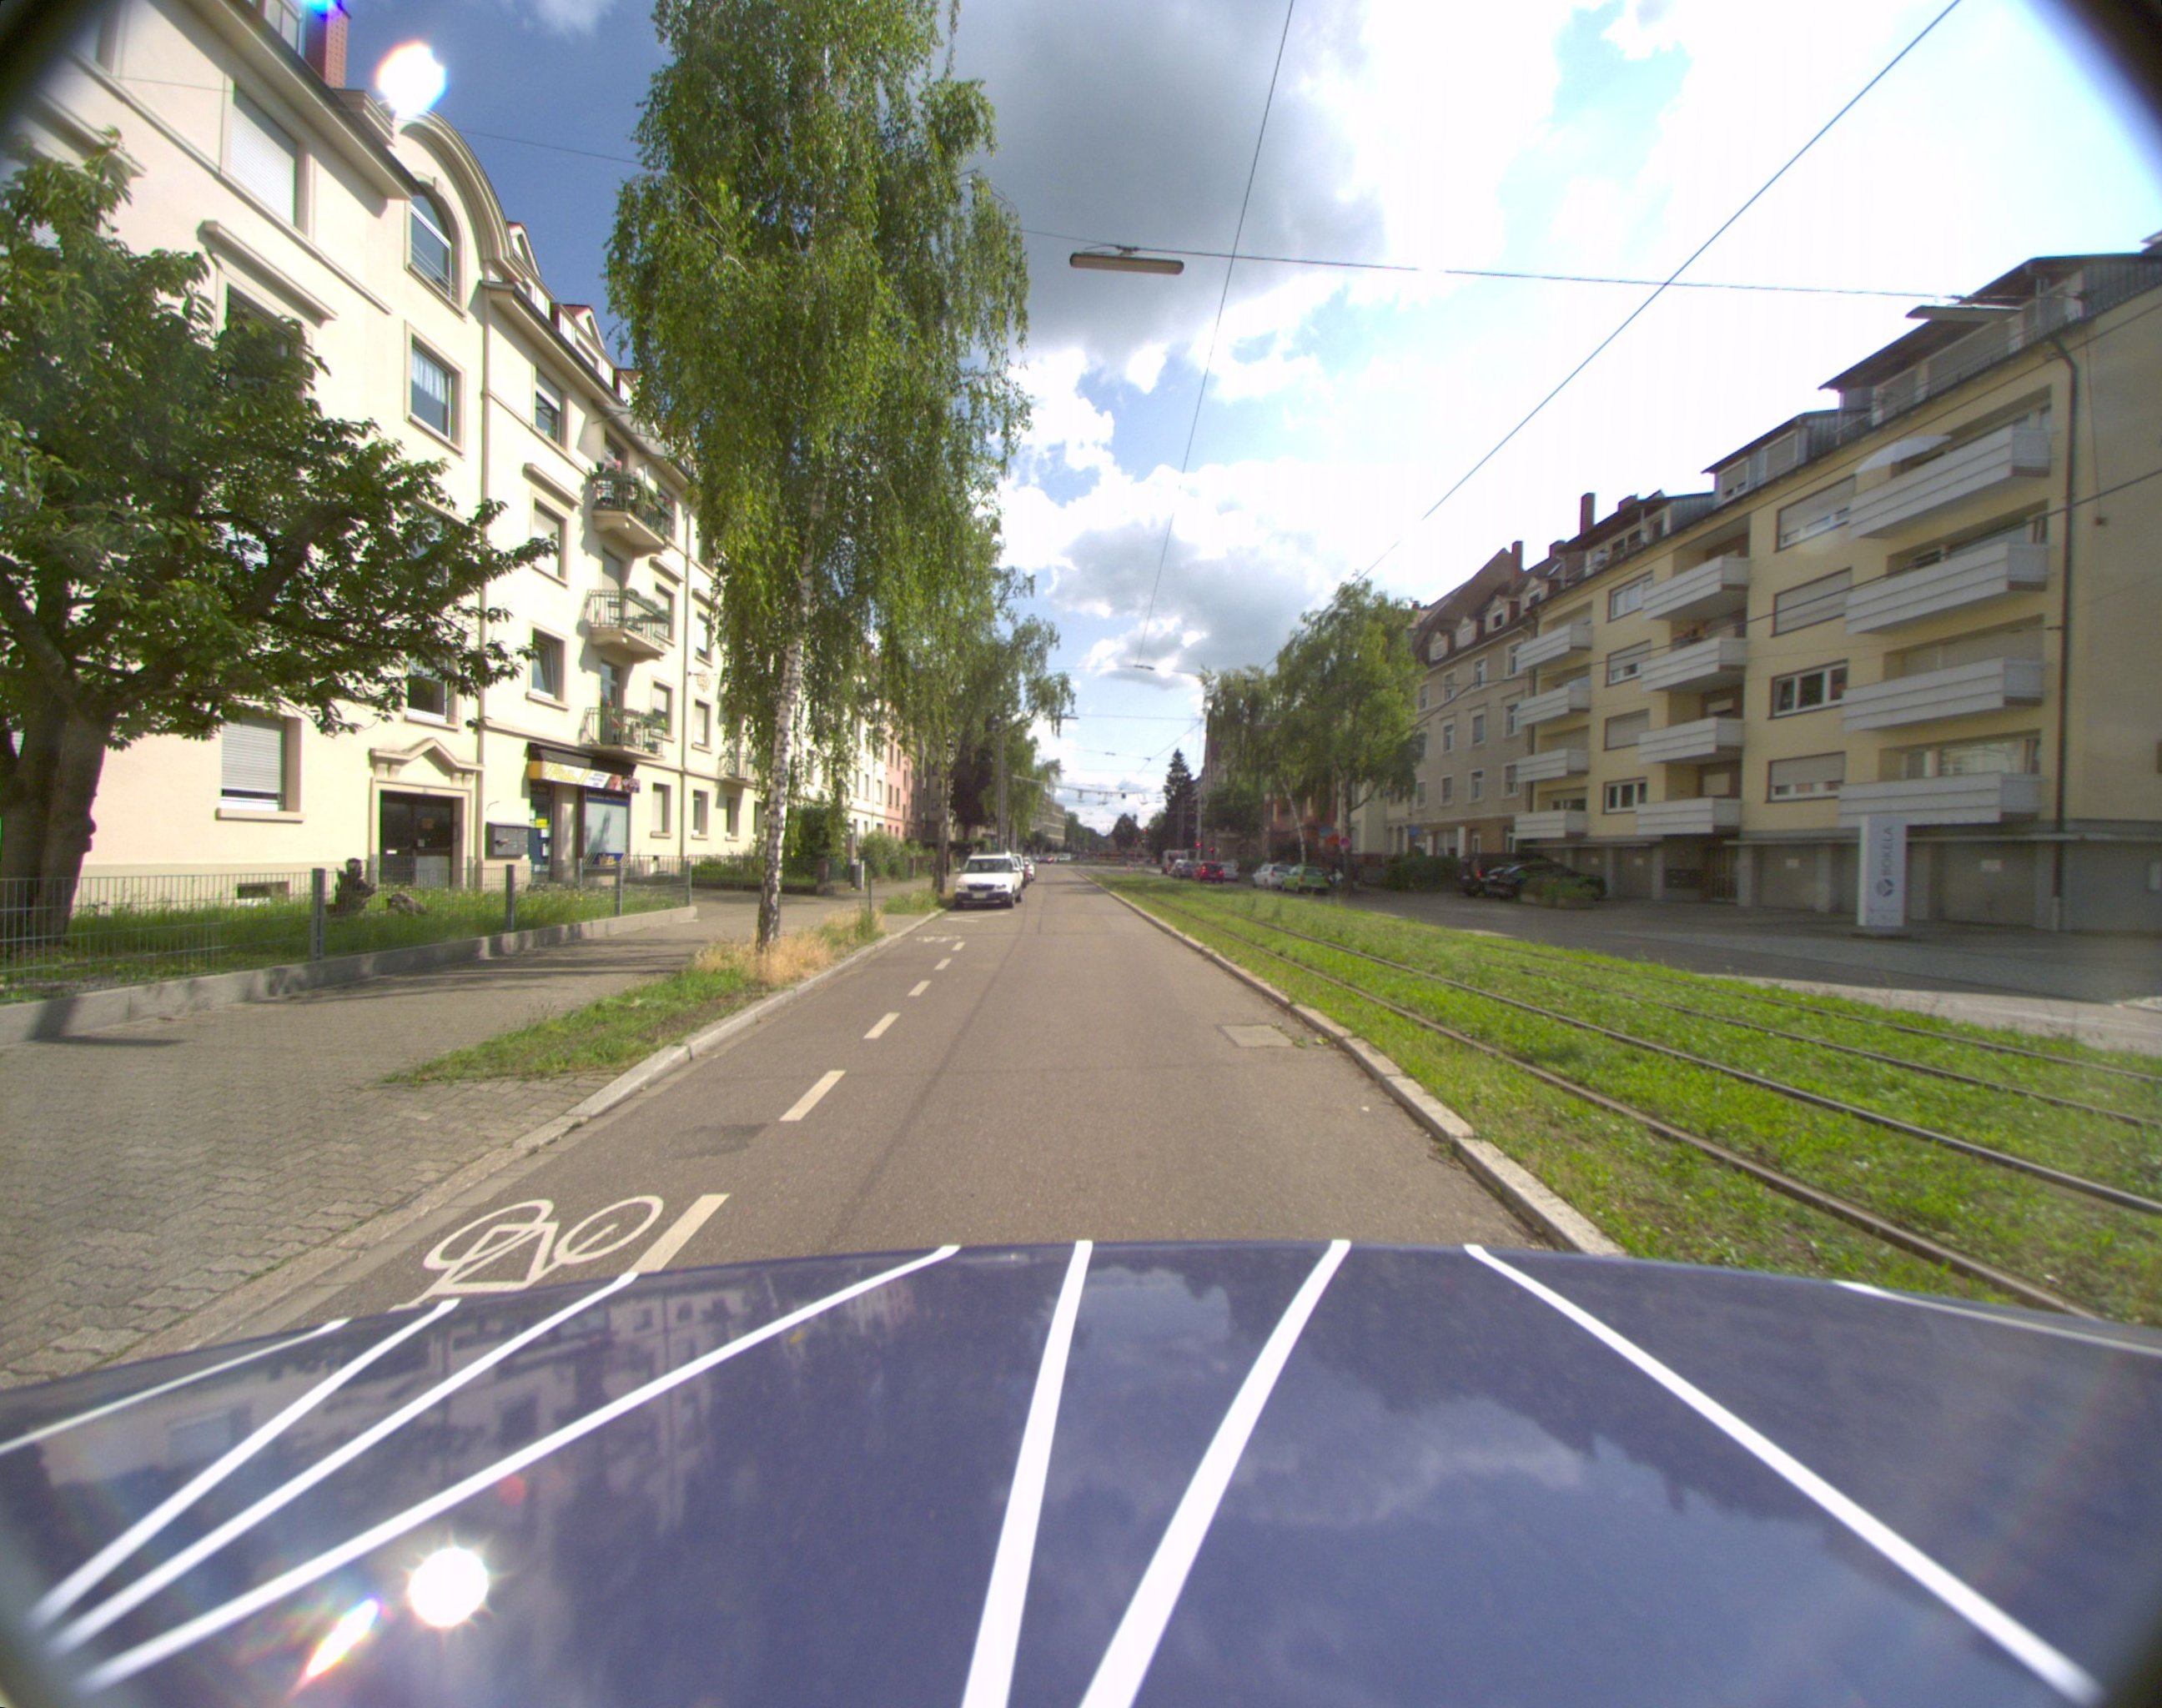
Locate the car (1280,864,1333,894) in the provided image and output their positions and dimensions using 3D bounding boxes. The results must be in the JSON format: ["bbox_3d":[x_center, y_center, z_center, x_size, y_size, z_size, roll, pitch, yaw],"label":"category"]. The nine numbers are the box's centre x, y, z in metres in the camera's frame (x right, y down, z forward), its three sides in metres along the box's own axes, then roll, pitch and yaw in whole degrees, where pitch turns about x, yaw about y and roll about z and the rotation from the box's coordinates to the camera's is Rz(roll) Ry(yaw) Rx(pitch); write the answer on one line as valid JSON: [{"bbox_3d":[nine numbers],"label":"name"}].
[{"bbox_3d":[11.709,1.266,39.692,1.598,1.423,3.614,2,0,-1],"label":"car"}]

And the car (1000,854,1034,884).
[{"bbox_3d":[-3.410,0.773,40.873,1.593,1.444,3.843,-2,0,-2],"label":"car"}]

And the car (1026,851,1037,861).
[{"bbox_3d":[-9.216,0.364,141.005,1.999,1.730,3.998,2,0,-3],"label":"car"}]

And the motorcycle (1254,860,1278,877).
[{"bbox_3d":[13.451,1.047,55.390,0.903,1.235,2.293,1,0,-8],"label":"motorcycle"}]

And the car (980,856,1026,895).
[{"bbox_3d":[-3.159,0.841,31.339,1.677,1.409,3.794,-1,0,-3],"label":"car"}]

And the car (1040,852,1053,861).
[{"bbox_3d":[-5.462,0.349,119.920,1.741,1.313,4.000,0,0,2],"label":"car"}]

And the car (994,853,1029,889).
[{"bbox_3d":[-3.227,0.775,35.741,1.498,1.570,3.757,-1,0,-3],"label":"car"}]

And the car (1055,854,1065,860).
[{"bbox_3d":[-4.253,0.609,153.802,1.620,1.265,4.000,0,0,2],"label":"car"}]

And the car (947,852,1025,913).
[{"bbox_3d":[-2.703,0.761,22.459,1.725,1.620,4.000,-1,0,1],"label":"car"}]

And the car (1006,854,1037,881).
[{"bbox_3d":[-3.558,0.783,45.648,1.624,1.444,3.917,-2,0,-2],"label":"car"}]

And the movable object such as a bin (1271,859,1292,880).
[{"bbox_3d":[13.850,1.060,52.591,0.953,1.359,1.521,-4,0,-3],"label":"movable object such as a bin"}]

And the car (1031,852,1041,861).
[{"bbox_3d":[-8.801,0.479,149.355,1.836,1.674,3.999,2,0,-2],"label":"car"}]

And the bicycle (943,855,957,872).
[{"bbox_3d":[-8.399,0.595,48.702,0.473,1.071,2.182,2,0,-1],"label":"bicycle"}]

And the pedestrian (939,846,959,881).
[{"bbox_3d":[-6.496,0.464,37.411,0.731,1.673,0.691,3,1,1],"label":"pedestrian"}]

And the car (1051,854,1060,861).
[{"bbox_3d":[-4.833,0.631,144.357,1.620,1.265,4.000,0,0,2],"label":"car"}]

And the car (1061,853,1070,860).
[{"bbox_3d":[-3.356,0.588,166.841,1.739,1.570,4.000,2,0,2],"label":"car"}]

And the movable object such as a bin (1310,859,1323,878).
[{"bbox_3d":[16.891,1.012,54.519,0.675,1.354,0.699,1,0,-5],"label":"movable object such as a bin"}]

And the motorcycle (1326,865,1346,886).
[{"bbox_3d":[13.952,1.179,41.603,0.500,1.037,1.631,-2,1,-2],"label":"motorcycle"}]

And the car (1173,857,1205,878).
[{"bbox_3d":[8.203,1.013,57.991,1.759,1.348,4.511,3,1,0],"label":"car"}]

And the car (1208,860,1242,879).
[{"bbox_3d":[10.984,1.165,58.184,1.759,1.348,3.994,2,0,0],"label":"car"}]

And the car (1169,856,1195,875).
[{"bbox_3d":[8.560,0.973,64.701,1.759,1.406,4.134,3,1,2],"label":"car"}]

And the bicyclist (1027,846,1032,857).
[{"bbox_3d":[-7.838,-0.322,116.109,0.665,1.679,0.857,2,1,3],"label":"bicyclist"}]

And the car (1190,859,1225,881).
[{"bbox_3d":[8.469,1.058,51.014,1.583,1.378,3.692,2,0,-1],"label":"car"}]

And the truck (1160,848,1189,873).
[{"bbox_3d":[9.063,0.612,74.120,2.190,2.201,6.613,2,0,2],"label":"truck"}]

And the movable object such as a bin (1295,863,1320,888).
[{"bbox_3d":[13.733,1.289,46.080,0.953,1.421,1.521,-1,0,-3],"label":"movable object such as a bin"}]

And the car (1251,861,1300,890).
[{"bbox_3d":[11.405,1.225,44.814,1.649,1.469,4.225,3,0,-1],"label":"car"}]

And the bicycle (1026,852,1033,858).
[{"bbox_3d":[-7.862,0.130,116.112,0.771,0.885,1.892,2,0,4],"label":"bicycle"}]

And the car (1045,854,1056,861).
[{"bbox_3d":[-5.370,0.631,135.076,1.620,1.265,4.000,0,0,2],"label":"car"}]

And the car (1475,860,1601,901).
[{"bbox_3d":[18.688,1.067,31.204,3.998,1.593,1.972,0,0,-2],"label":"car"}]

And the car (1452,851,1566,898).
[{"bbox_3d":[19.001,0.871,33.861,3.996,2.002,1.937,0,0,1],"label":"car"}]

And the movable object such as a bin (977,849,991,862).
[{"bbox_3d":[-11.183,0.149,87.572,1.305,1.483,2.000,2,0,-1],"label":"movable object such as a bin"}]
